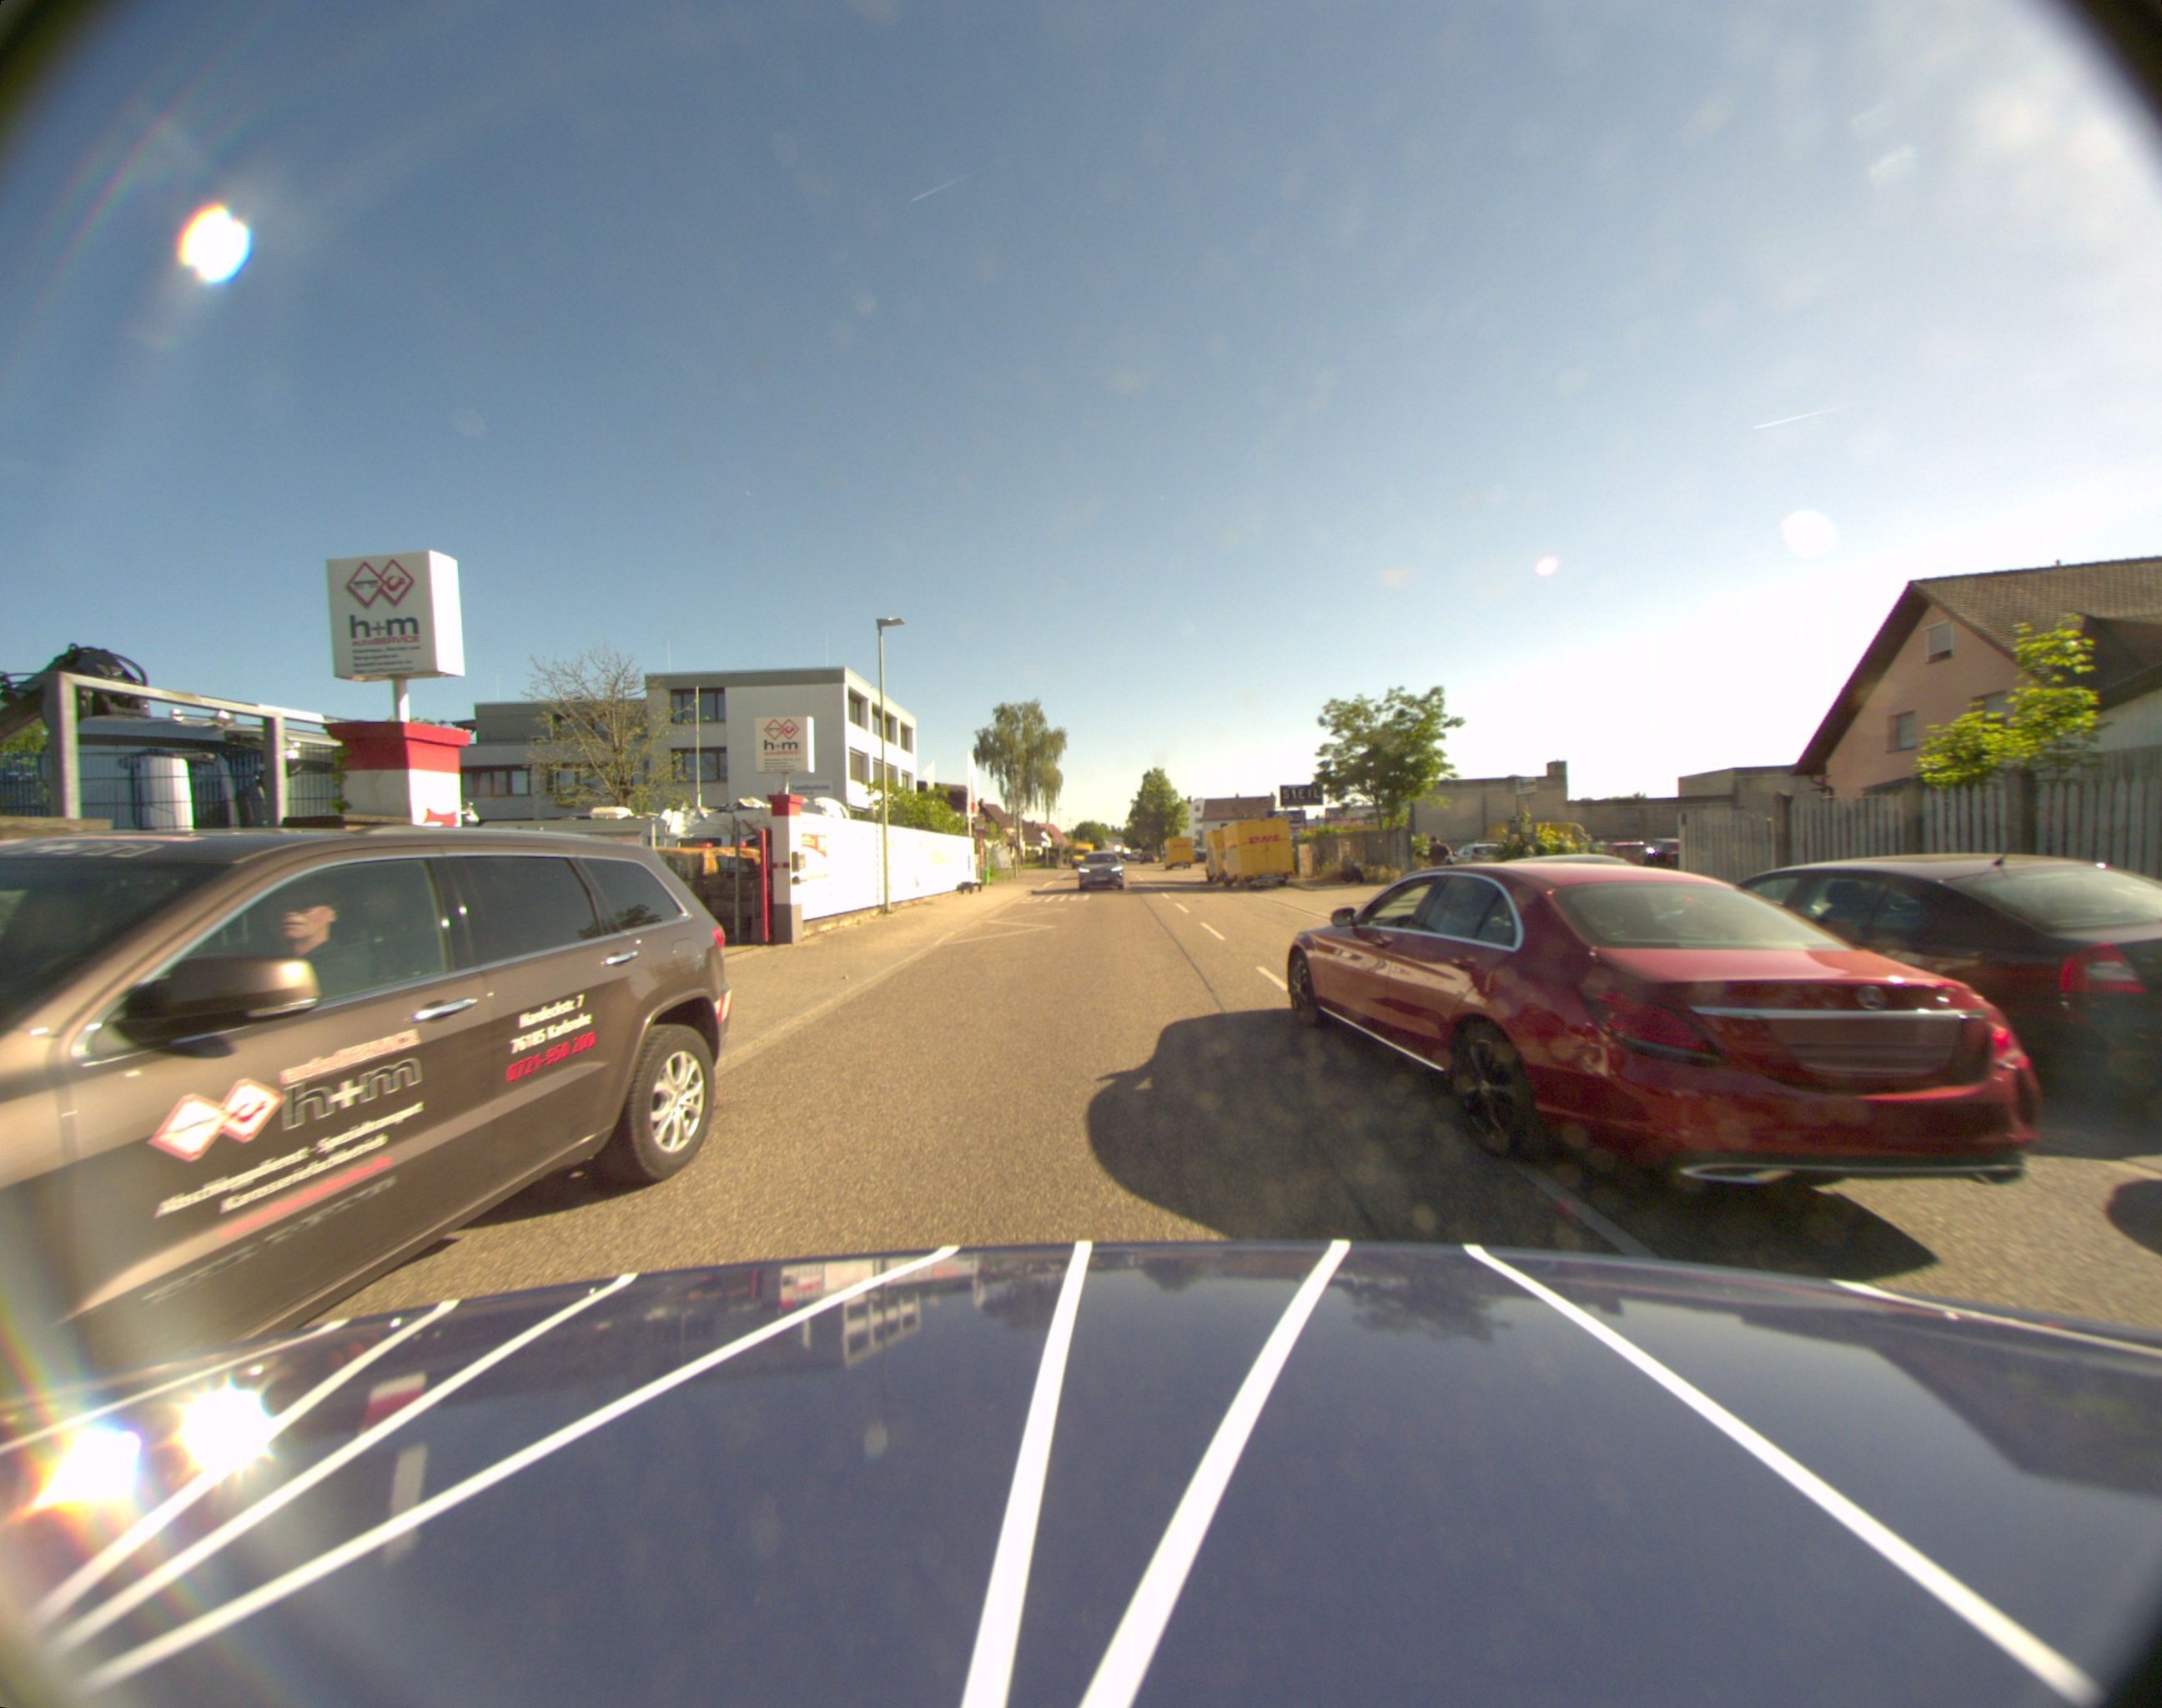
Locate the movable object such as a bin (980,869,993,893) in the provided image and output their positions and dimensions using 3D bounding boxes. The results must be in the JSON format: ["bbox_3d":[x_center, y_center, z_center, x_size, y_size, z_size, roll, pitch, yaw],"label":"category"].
[{"bbox_3d":[-3.920,1.128,31.510,0.383,0.950,0.567,-1,1,5],"label":"movable object such as a bin"}]

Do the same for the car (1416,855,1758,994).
[{"bbox_3d":[6.787,0.800,11.037,1.780,1.439,4.923,-4,0,2],"label":"car"}]

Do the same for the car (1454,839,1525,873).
[{"bbox_3d":[20.603,0.054,38.514,1.975,1.630,4.002,0,2,10],"label":"car"}]

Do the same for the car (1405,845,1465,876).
[{"bbox_3d":[18.029,0.279,38.877,1.851,1.435,4.002,0,2,10],"label":"car"}]

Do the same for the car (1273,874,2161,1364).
[{"bbox_3d":[2.794,0.900,4.691,1.875,1.412,4.529,0,0,-3],"label":"car"}]

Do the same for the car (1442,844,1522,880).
[{"bbox_3d":[17.557,0.298,33.442,1.975,1.435,4.002,0,2,10],"label":"car"}]

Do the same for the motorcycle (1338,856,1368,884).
[{"bbox_3d":[10.927,0.626,30.575,0.537,1.051,2.071,-4,0,5],"label":"motorcycle"}]

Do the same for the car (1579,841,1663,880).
[{"bbox_3d":[22.615,0.256,31.988,1.647,1.521,4.004,-1,0,16],"label":"car"}]

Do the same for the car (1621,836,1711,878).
[{"bbox_3d":[24.719,0.113,32.286,1.647,1.675,4.004,-1,0,16],"label":"car"}]

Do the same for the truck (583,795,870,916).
[{"bbox_3d":[-8.915,0.049,19.464,6.237,2.800,2.381,-1,1,5],"label":"truck"}]

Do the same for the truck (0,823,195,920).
[{"bbox_3d":[-35.661,0.639,26.612,6.010,3.034,2.741,-3,1,3],"label":"truck"}]

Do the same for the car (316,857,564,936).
[{"bbox_3d":[-14.231,0.920,16.966,4.317,1.565,1.918,-1,1,12],"label":"car"}]

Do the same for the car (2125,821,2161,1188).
[{"bbox_3d":[6.060,0.721,1.506,1.779,1.838,4.616,-4,0,5],"label":"car"}]

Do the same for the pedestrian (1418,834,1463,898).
[{"bbox_3d":[10.217,0.329,21.620,0.820,1.733,0.751,-3,1,-5],"label":"pedestrian"}]

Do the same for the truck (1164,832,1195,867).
[{"bbox_3d":[9.148,-0.427,71.000,2.286,3.012,5.910,-3,1,2],"label":"truck"}]

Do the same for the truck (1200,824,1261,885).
[{"bbox_3d":[7.742,-0.009,39.914,2.144,2.857,5.750,-3,1,2],"label":"truck"}]

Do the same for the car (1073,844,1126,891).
[{"bbox_3d":[0.770,0.531,31.808,1.998,1.750,5.016,-2,0,1],"label":"car"}]

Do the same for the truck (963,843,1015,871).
[{"bbox_3d":[-8.561,0.257,70.658,4.393,2.451,1.996,-1,1,-22],"label":"truck"}]

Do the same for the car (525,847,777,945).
[{"bbox_3d":[-8.610,0.739,15.307,4.296,1.732,1.979,1,1,17],"label":"car"}]

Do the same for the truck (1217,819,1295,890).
[{"bbox_3d":[7.463,-0.016,33.077,2.173,2.698,5.749,-3,1,2],"label":"truck"}]

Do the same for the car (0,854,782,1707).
[{"bbox_3d":[-2.971,0.952,2.530,1.806,1.734,4.912,-3,1,1],"label":"car"}]

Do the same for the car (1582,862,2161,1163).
[{"bbox_3d":[6.571,0.881,6.366,1.780,1.439,4.615,-4,0,2],"label":"car"}]
